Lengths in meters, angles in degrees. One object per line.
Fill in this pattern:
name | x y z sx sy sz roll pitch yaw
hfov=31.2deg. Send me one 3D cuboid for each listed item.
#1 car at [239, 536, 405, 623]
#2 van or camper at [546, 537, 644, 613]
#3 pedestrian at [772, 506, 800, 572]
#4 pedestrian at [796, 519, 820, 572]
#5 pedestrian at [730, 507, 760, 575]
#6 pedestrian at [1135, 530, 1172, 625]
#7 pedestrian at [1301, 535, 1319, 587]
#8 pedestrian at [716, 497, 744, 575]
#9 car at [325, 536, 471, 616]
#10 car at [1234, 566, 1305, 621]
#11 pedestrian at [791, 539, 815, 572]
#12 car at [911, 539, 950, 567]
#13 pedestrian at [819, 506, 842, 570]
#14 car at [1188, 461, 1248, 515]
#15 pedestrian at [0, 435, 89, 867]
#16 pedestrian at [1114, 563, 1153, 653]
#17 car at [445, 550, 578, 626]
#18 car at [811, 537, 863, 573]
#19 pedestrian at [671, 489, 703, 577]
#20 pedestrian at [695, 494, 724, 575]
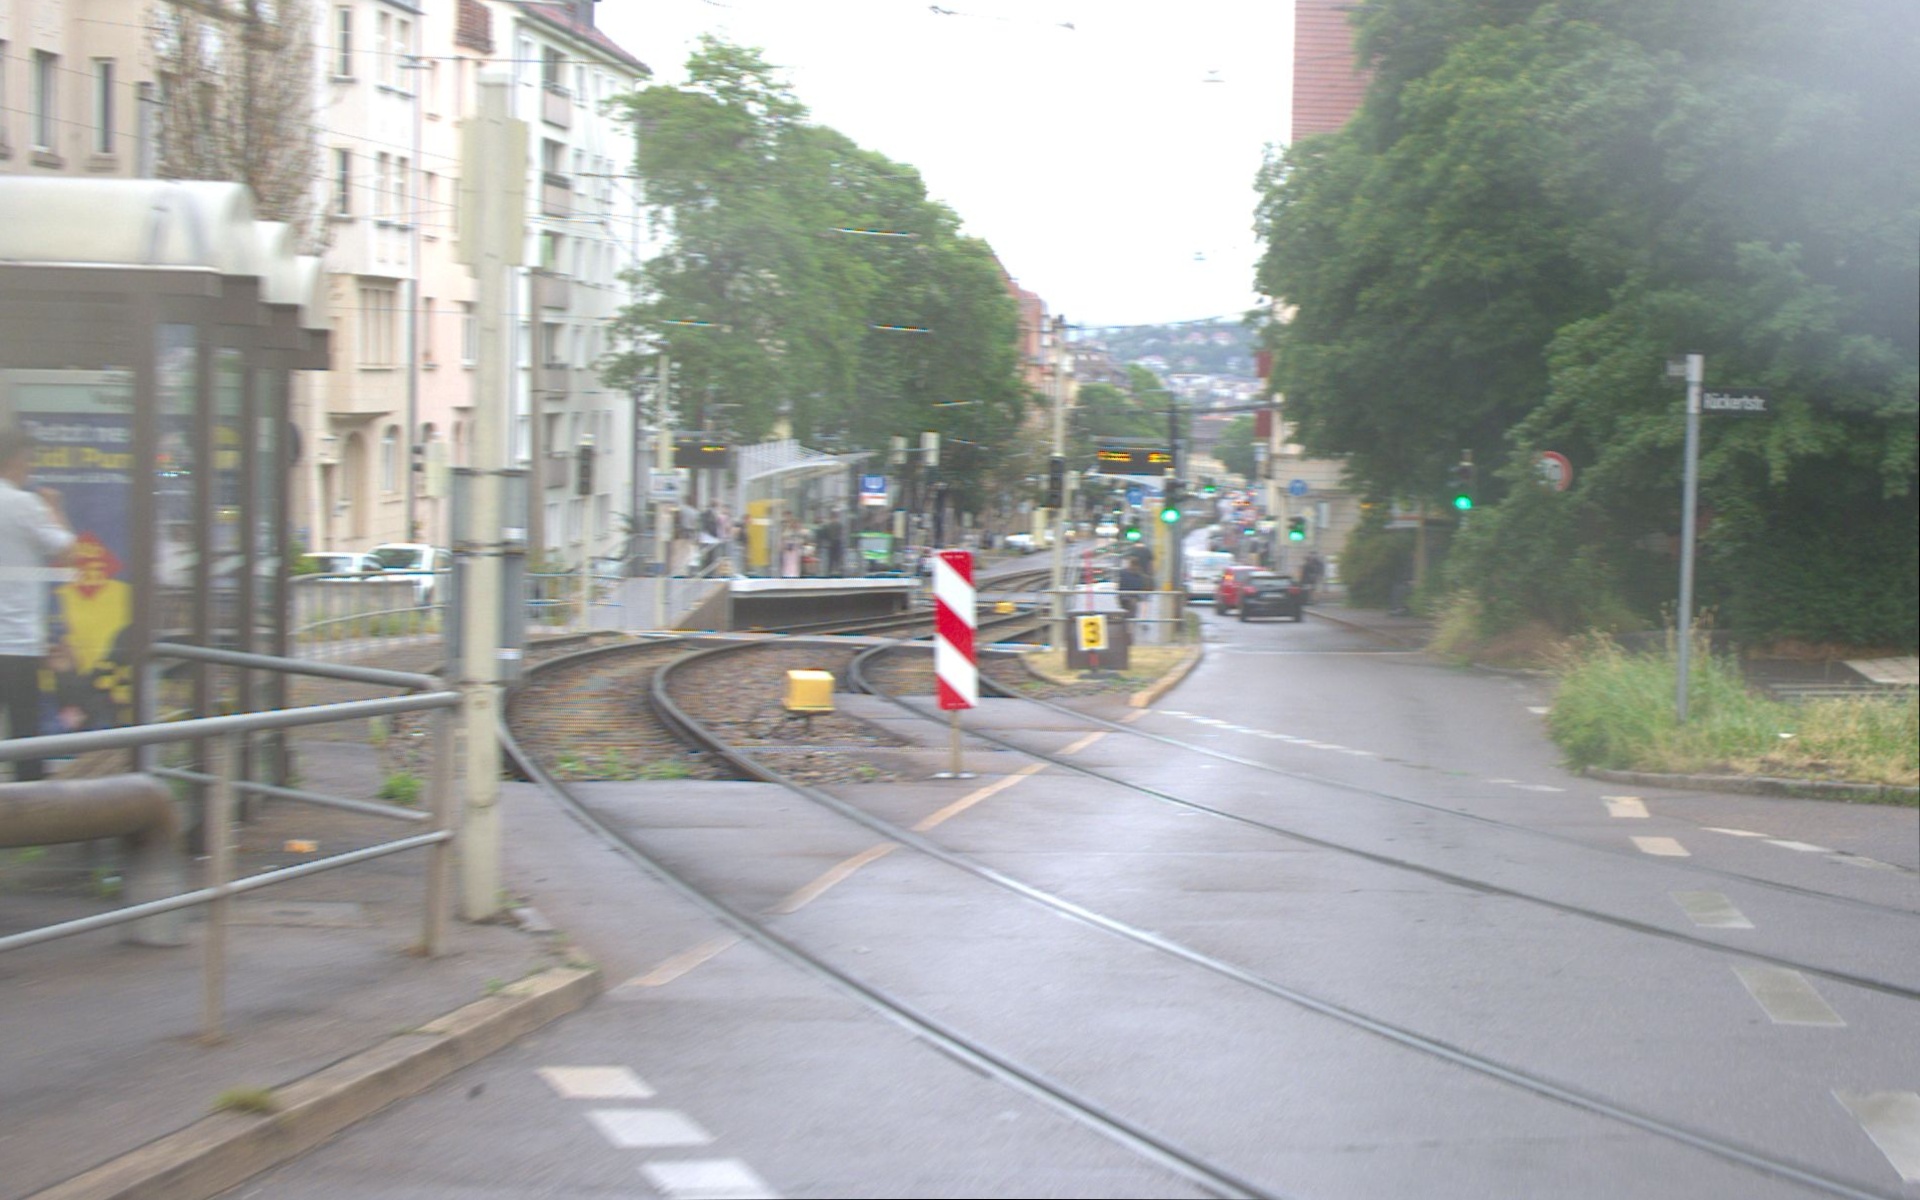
car | -12.433 -0.376 67.297 1.994 1.527 4.531 3 0 5
van or camper | -9.966 -0.710 94.075 1.994 2.007 4.000 0 1 4
pedestrian | -4.434 -1.545 87.693 0.594 1.660 0.762 -1 0 4
pedestrian | -4.126 -1.476 93.218 0.550 1.408 0.614 -1 0 4
pedestrian | -5.278 -1.443 84.325 0.594 1.660 0.762 -1 0 4
pedestrian | 3.648 -0.431 64.699 0.650 1.778 0.847 0 1 5
pedestrian | 12.039 -1.345 118.378 0.554 1.807 0.651 1 1 2
pedestrian | -5.473 -1.511 81.796 0.516 1.831 0.762 -1 0 4
car | -11.881 -0.528 72.900 1.923 1.617 4.534 -1 1 6
car | 8.774 -0.203 97.583 1.852 1.468 4.000 0 1 3
pedestrian | -4.219 -1.199 92.326 0.550 0.869 0.614 -1 0 4
car | -1.662 -2.659 193.991 1.773 1.483 4.255 -1 1 5
pedestrian | -3.560 -1.707 94.428 0.550 1.735 0.614 -1 0 4
car | 9.077 -3.922 121.219 1.949 1.787 4.144 1 1 3
pedestrian | -3.920 0.205 14.160 0.576 1.746 0.543 0 0 -6
pedestrian | 3.045 0.140 60.194 0.650 1.557 0.683 0 1 5
car | -10.633 -0.275 81.847 1.994 1.726 4.812 -1 0 7
car | -5.389 -1.982 151.399 1.726 1.510 4.495 0 2 5
pedestrian | -5.823 -1.426 73.382 0.561 1.843 0.598 -1 0 4
pedestrian | -5.692 -1.488 78.262 0.516 1.831 0.762 -1 0 4
